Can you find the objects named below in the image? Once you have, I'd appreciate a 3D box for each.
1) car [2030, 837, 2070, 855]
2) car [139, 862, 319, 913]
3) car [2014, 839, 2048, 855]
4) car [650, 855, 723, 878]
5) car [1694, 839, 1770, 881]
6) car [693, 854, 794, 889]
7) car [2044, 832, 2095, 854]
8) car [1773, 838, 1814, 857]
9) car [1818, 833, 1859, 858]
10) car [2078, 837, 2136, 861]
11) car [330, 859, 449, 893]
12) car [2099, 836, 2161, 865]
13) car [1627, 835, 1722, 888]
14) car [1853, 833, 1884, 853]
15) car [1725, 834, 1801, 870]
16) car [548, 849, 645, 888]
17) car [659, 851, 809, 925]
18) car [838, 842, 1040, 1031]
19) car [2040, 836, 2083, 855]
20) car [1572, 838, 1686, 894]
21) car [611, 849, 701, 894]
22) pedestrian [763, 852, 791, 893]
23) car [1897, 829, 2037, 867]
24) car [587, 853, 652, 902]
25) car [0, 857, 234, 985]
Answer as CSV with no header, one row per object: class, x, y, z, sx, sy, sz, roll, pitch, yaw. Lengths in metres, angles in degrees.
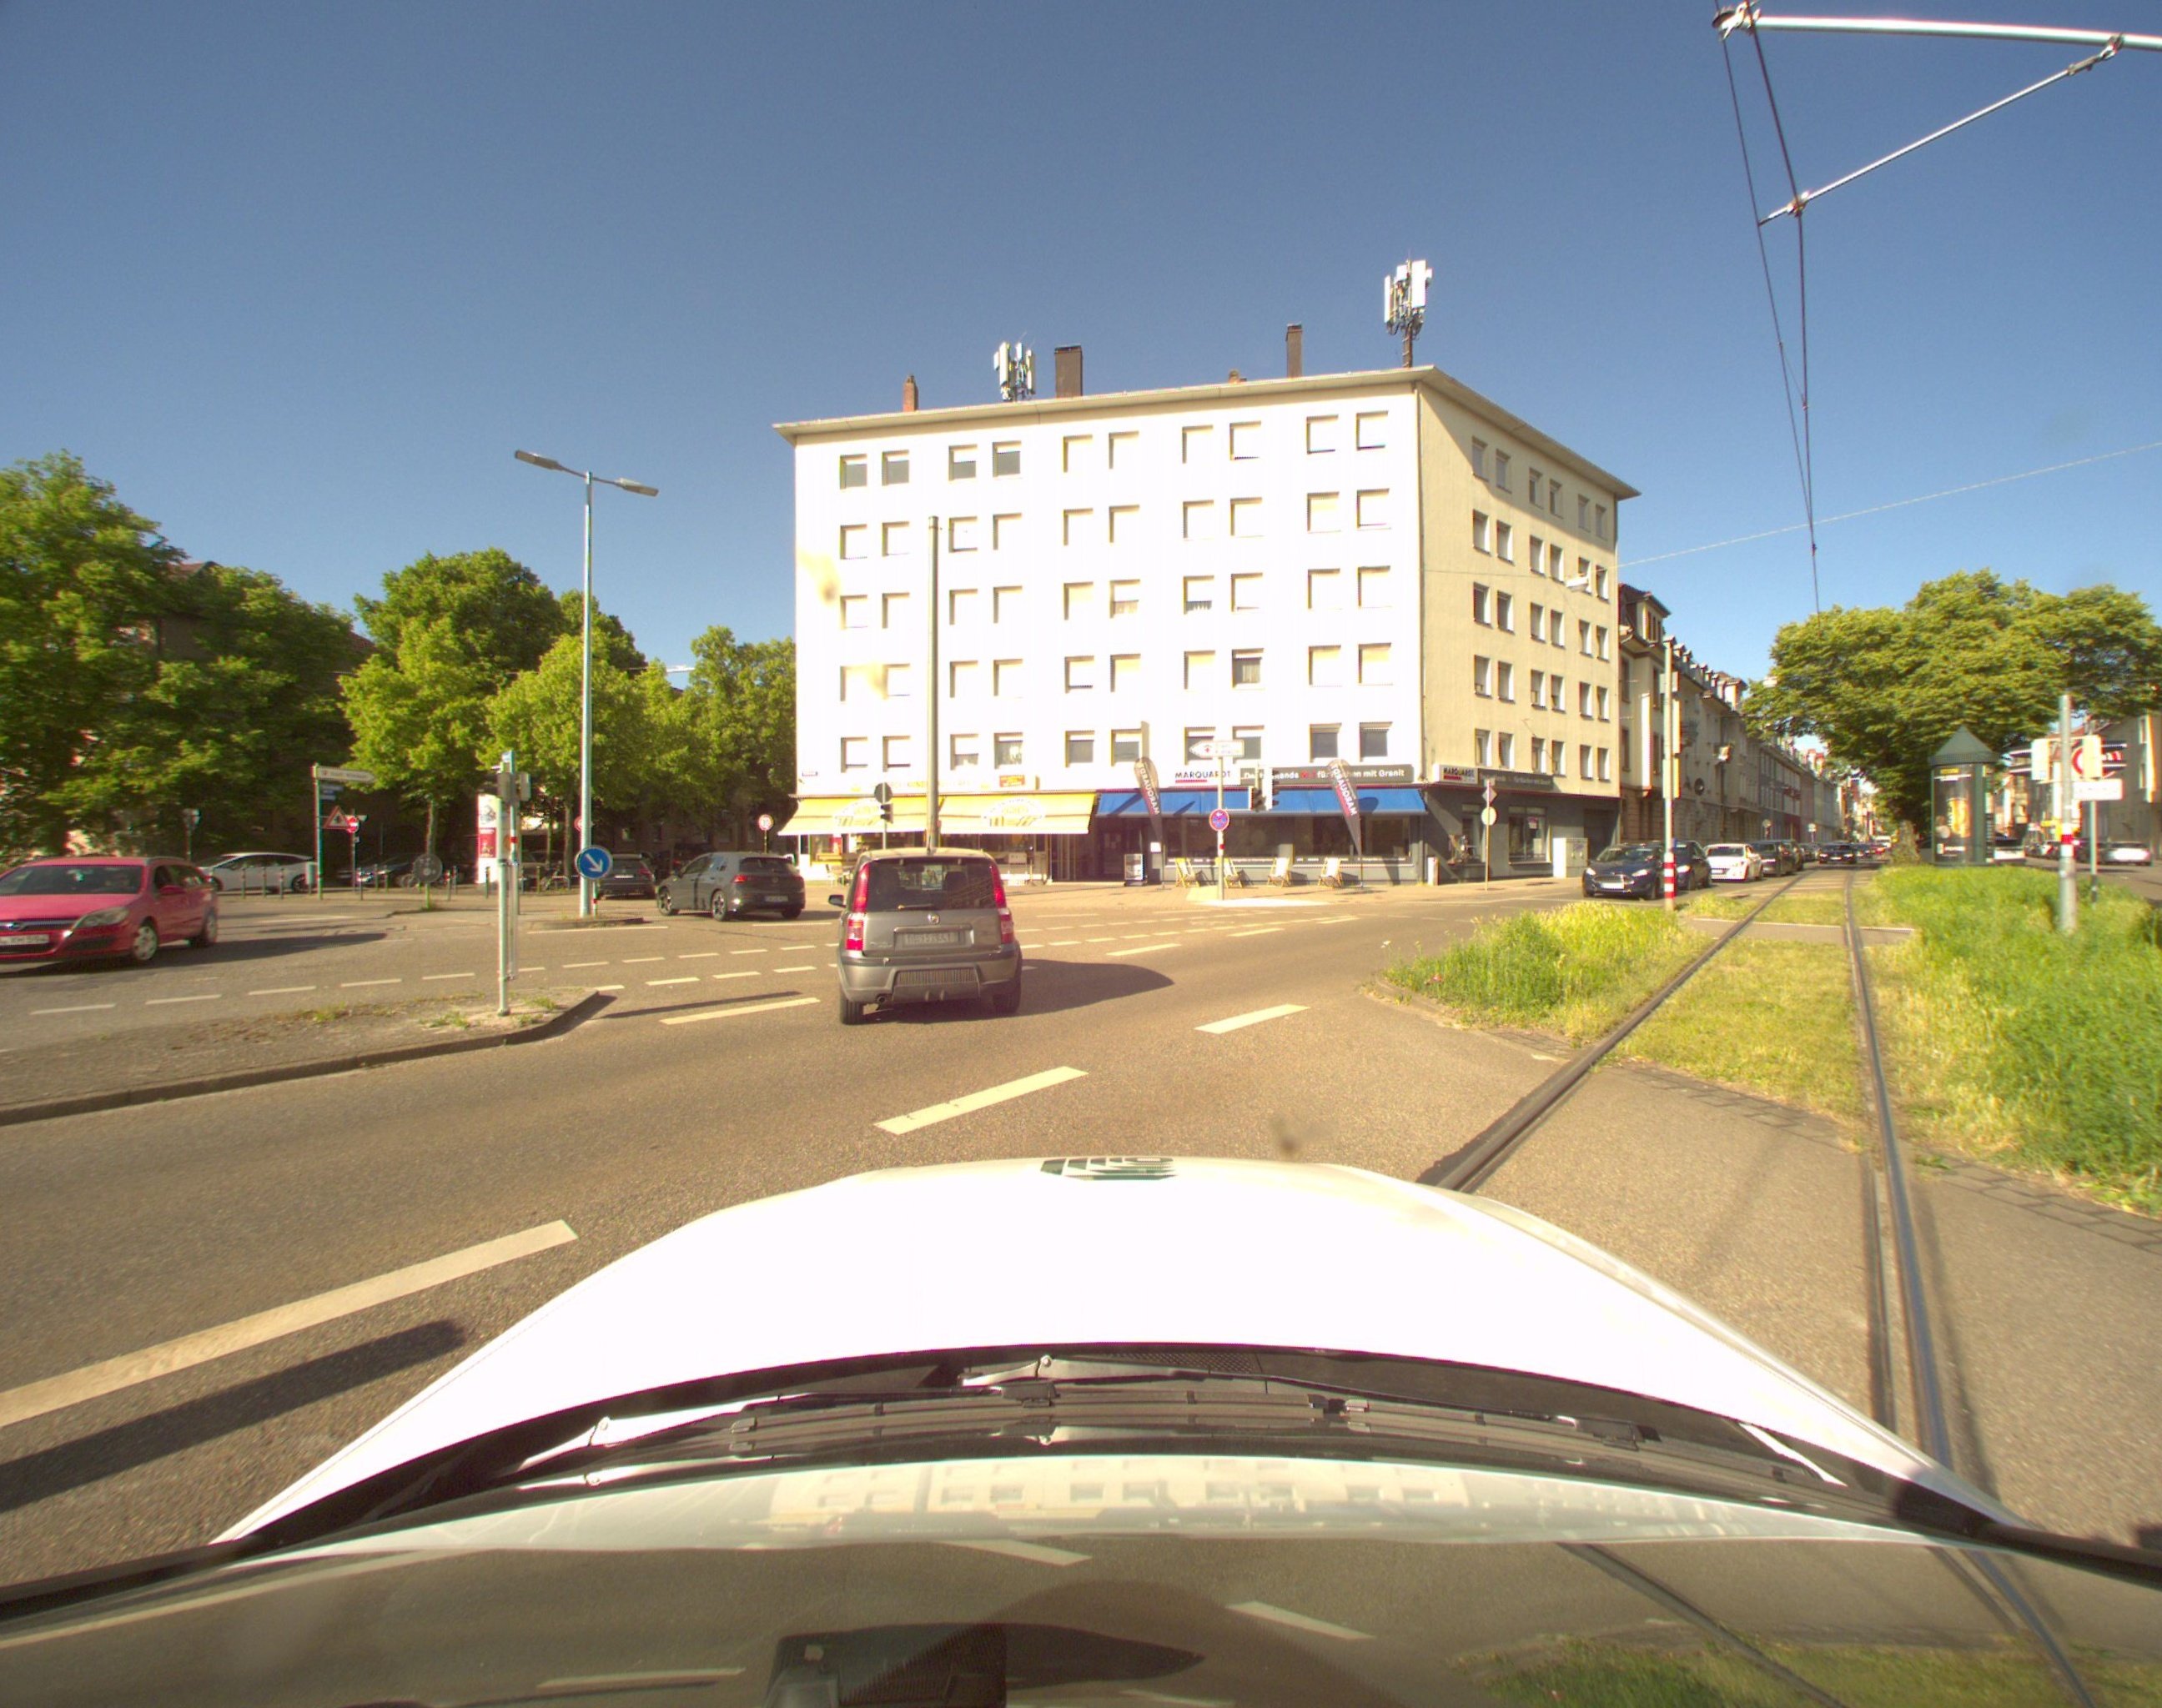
car,84.880,-0.705,71.384,4.023,1.468,1.917,-2,2,-45
car,-31.160,1.180,29.975,1.747,1.617,4.243,0,1,15
car,93.019,-0.690,79.786,4.023,1.468,1.917,-2,2,-45
car,-22.213,0.668,45.880,3.459,1.190,1.649,-1,1,-36
car,24.761,0.180,30.956,3.552,1.482,1.774,-1,1,-43
car,-14.057,0.709,34.211,1.980,1.310,4.013,-1,0,12
car,69.479,-0.821,57.290,4.023,1.468,1.917,-2,2,-44
car,52.635,-0.479,60.158,4.023,1.395,1.975,-1,1,-45
car,53.436,-0.608,57.432,4.023,1.750,1.975,-1,1,-44
car,66.774,-0.376,53.075,4.023,1.468,1.917,-2,2,-45
car,-29.920,0.936,35.370,1.583,1.293,3.715,-1,1,12
car,62.295,-0.198,48.374,4.022,1.618,1.976,1,0,-43
car,19.153,0.194,26.224,3.787,1.565,1.774,-1,1,-43
car,74.393,-1.046,76.920,4.023,1.750,1.975,-1,1,-44
car,29.841,-0.125,35.596,4.022,1.473,1.976,-1,1,-42
car,-21.525,0.637,36.232,3.280,1.602,1.673,-1,1,5
car,-7.635,0.671,17.788,3.641,1.429,1.636,0,1,42
car,-1.614,0.660,8.390,1.663,1.510,3.233,-1,0,-16
car,80.511,-0.738,66.893,4.023,1.468,1.917,-2,2,-45
car,14.928,0.271,22.110,3.746,1.395,1.774,-1,1,-43
car,-16.555,0.639,31.951,1.746,1.578,4.406,-1,1,-9
pedestrian,-12.580,0.758,33.772,0.788,1.621,0.830,-1,0,2
car,39.338,-0.263,36.330,1.899,1.593,3.999,-1,1,-1
car,-15.477,0.709,27.355,1.771,1.486,4.252,-1,0,-30
car,-14.018,0.816,11.719,1.763,1.489,4.494,-1,1,-36
